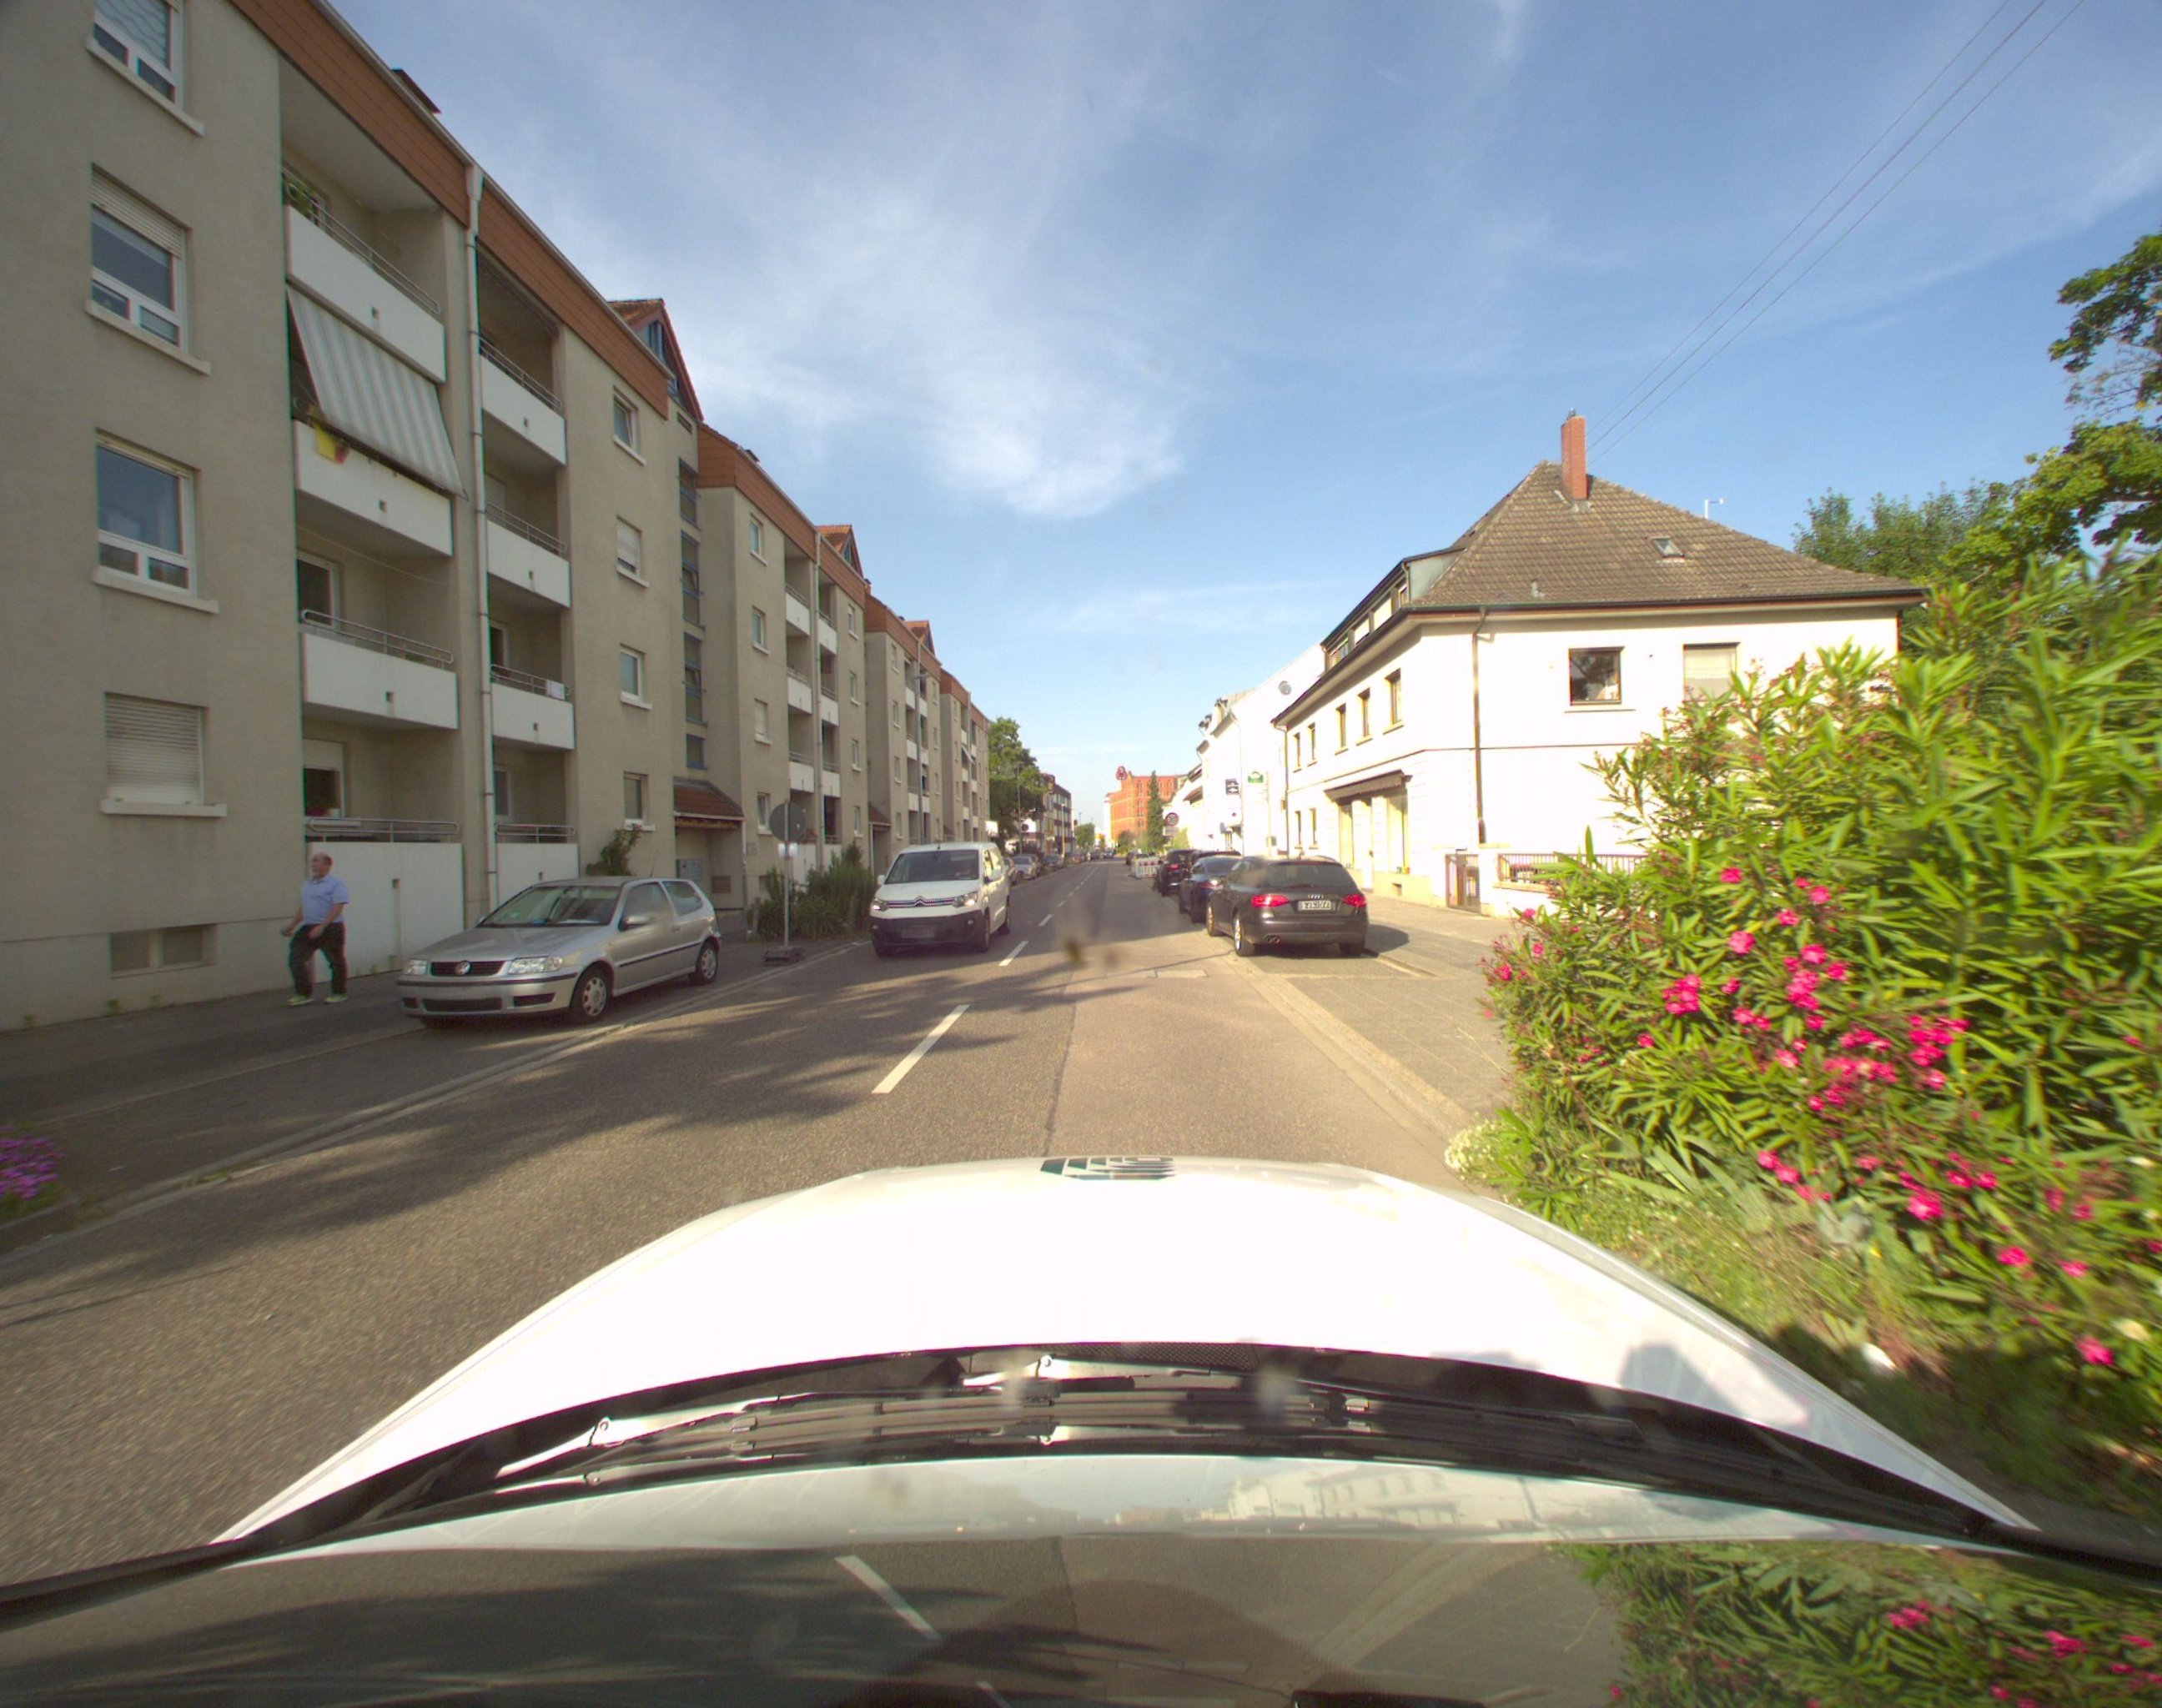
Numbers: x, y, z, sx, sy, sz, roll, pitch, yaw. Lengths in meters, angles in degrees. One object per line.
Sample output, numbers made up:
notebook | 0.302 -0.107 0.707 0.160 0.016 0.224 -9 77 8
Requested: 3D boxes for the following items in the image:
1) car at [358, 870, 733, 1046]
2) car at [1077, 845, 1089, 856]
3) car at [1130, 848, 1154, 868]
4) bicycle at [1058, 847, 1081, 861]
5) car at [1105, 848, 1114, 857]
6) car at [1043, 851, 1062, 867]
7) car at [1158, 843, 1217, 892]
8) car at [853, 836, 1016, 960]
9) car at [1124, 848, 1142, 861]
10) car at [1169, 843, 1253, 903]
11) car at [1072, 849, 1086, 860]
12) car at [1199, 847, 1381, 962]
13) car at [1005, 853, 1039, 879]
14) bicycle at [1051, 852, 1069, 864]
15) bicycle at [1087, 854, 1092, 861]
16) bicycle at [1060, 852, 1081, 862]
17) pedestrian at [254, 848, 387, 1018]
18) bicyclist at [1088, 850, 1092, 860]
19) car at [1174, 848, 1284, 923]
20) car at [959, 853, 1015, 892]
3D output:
car | -5.493 0.954 8.997 1.635 1.395 3.672 -2 0 0
car | 0.394 -0.635 145.267 1.985 1.881 4.003 -2 0 3
car | 5.136 0.322 68.911 1.822 1.482 3.946 -3 0 3
bicycle | -1.557 0.006 109.026 2.906 1.777 1.203 -3 0 3
car | 5.687 -0.264 162.471 1.757 1.616 4.002 -3 0 2
car | -2.810 0.455 80.355 1.568 1.420 3.805 -2 0 2
car | 3.740 0.495 29.267 1.822 1.630 4.466 0 -1 3
car | -2.353 0.633 14.282 1.915 1.767 4.339 -3 0 1
car | 5.923 0.023 93.067 1.852 1.472 4.002 0 0 2
car | 3.794 0.514 24.467 1.823 1.560 4.318 -3 0 1
car | -0.299 0.072 118.819 1.833 1.464 3.587 -2 0 3
car | 3.067 0.645 12.927 1.773 1.420 4.497 -2 1 1
car | -3.642 0.697 50.646 1.680 1.454 4.142 -1 1 1
bicycle | -2.354 0.446 92.232 1.996 1.217 0.707 -2 0 -4
bicycle | 1.285 0.447 117.099 0.606 0.942 1.813 -2 0 4
bicycle | -1.462 0.381 110.798 2.761 1.144 1.144 -3 0 3
pedestrian | -8.543 0.854 9.177 0.716 1.818 0.745 -2 1 2
bicyclist | 1.283 0.151 117.123 0.588 1.442 0.751 -2 0 3
car | 3.244 0.618 18.724 1.823 1.420 4.612 -2 1 2
car | -4.060 0.776 35.750 1.719 1.555 3.969 -1 1 4
